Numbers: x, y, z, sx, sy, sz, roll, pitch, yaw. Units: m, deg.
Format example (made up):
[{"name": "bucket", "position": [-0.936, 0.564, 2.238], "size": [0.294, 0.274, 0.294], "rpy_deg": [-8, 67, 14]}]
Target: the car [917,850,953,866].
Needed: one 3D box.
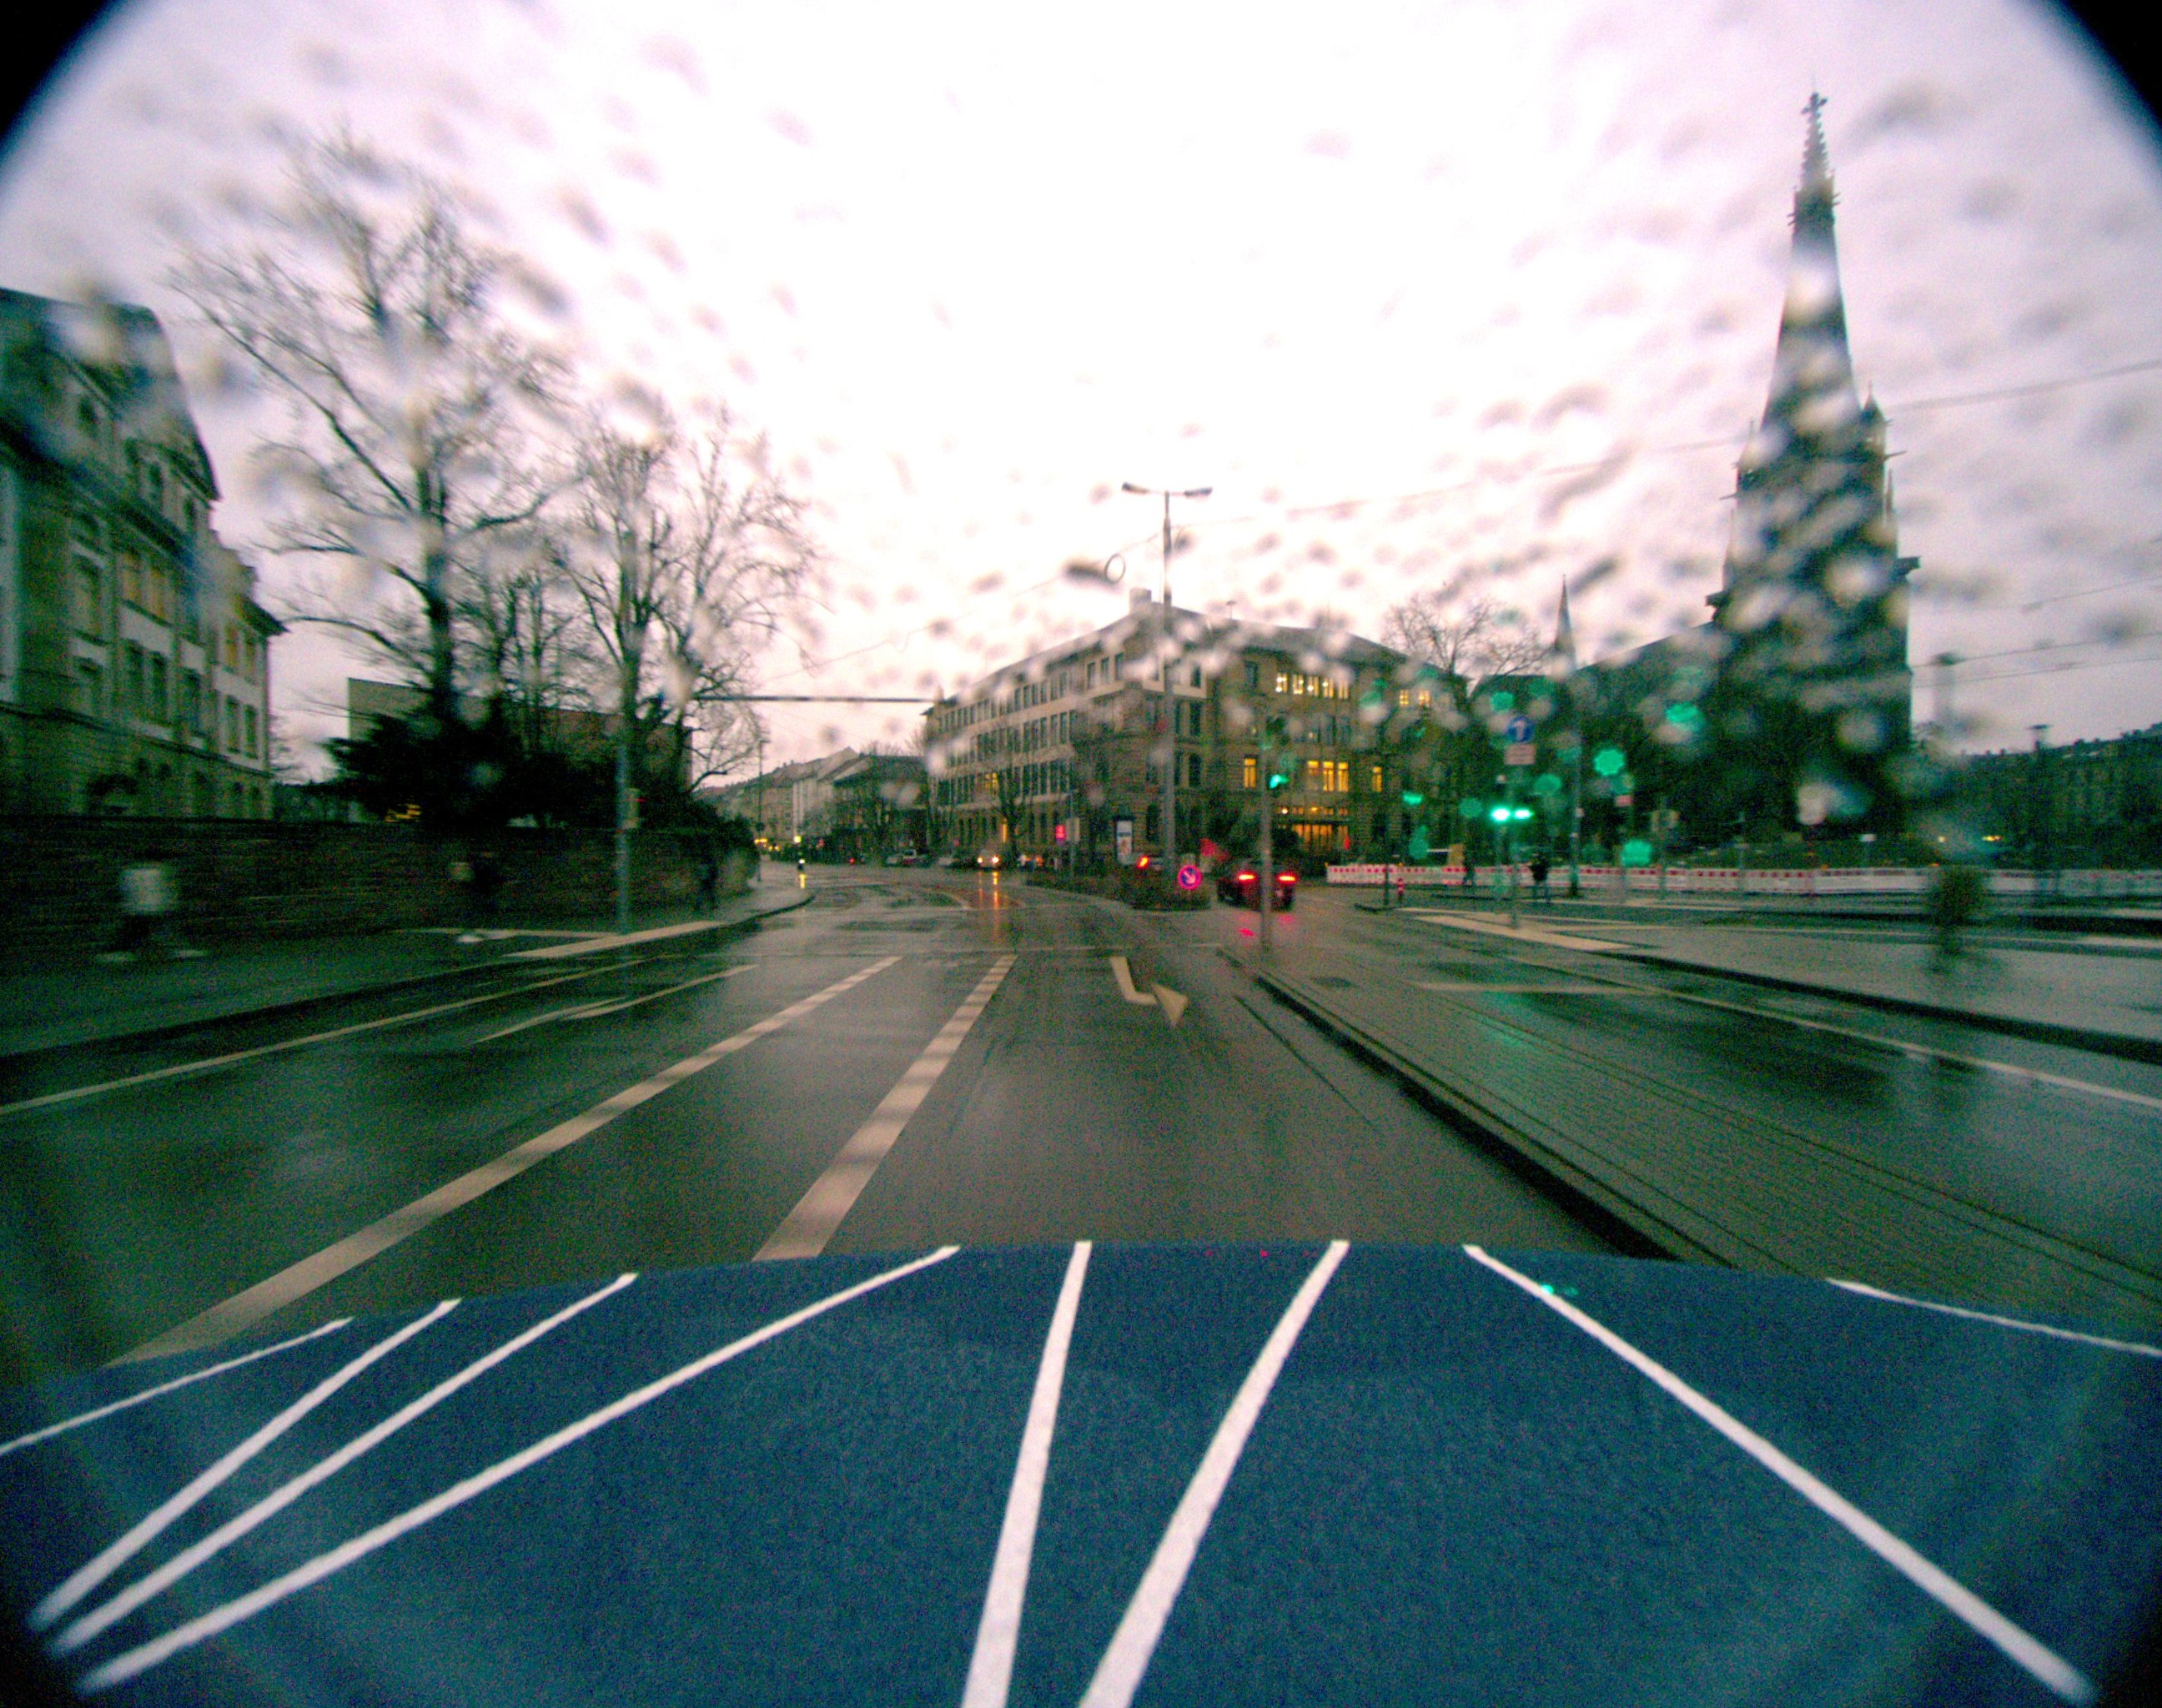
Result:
[{"name": "car", "position": [-16.061, 0.385, 83.785], "size": [1.819, 1.531, 3.982], "rpy_deg": [0, 3, 28]}]

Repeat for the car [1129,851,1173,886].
[{"name": "car", "position": [3.505, 0.700, 38.874], "size": [1.759, 1.652, 4.529], "rpy_deg": [1, 0, 0]}]

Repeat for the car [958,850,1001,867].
[{"name": "car", "position": [-10.088, 0.465, 75.712], "size": [1.795, 1.450, 4.484], "rpy_deg": [0, 3, 29]}]

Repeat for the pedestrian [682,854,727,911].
[{"name": "pedestrian", "position": [-11.287, 0.840, 22.839], "size": [0.807, 1.675, 1.156], "rpy_deg": [1, 0, -4]}]

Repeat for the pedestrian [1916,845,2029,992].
[{"name": "pedestrian", "position": [10.765, 0.741, 9.209], "size": [0.673, 1.665, 0.731], "rpy_deg": [0, 3, 32]}]

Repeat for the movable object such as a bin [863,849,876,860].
[{"name": "movable object such as a bin", "position": [-28.003, 0.081, 100.552], "size": [1.341, 1.456, 0.987], "rpy_deg": [-1, 3, 18]}]

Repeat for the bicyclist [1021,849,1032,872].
[{"name": "bicyclist", "position": [-4.229, 0.520, 59.058], "size": [0.611, 1.758, 0.589], "rpy_deg": [-1, 3, 9]}]

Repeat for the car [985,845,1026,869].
[{"name": "car", "position": [-6.942, 0.239, 70.576], "size": [1.908, 2.022, 4.809], "rpy_deg": [-1, 2, 18]}]

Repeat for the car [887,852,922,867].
[{"name": "car", "position": [-21.144, 0.669, 91.394], "size": [1.771, 1.582, 4.191], "rpy_deg": [-1, 2, 27]}]

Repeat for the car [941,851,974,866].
[{"name": "car", "position": [-12.958, 0.467, 79.844], "size": [1.633, 1.450, 3.831], "rpy_deg": [-1, 2, 22]}]

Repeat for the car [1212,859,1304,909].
[{"name": "car", "position": [5.438, 0.863, 23.905], "size": [1.751, 1.370, 4.365], "rpy_deg": [1, 0, -2]}]

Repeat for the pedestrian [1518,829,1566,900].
[{"name": "pedestrian", "position": [15.791, 0.349, 26.047], "size": [0.996, 2.357, 1.063], "rpy_deg": [-2, 3, -4]}]

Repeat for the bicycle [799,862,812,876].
[{"name": "bicycle", "position": [-22.559, 1.222, 62.236], "size": [0.725, 1.084, 2.280], "rpy_deg": [-2, 0, -27]}]

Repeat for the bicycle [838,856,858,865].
[{"name": "bicycle", "position": [-27.823, 0.749, 90.630], "size": [2.125, 0.939, 0.942], "rpy_deg": [-3, 3, -30]}]

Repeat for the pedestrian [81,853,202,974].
[{"name": "pedestrian", "position": [-13.683, 0.822, 11.108], "size": [0.964, 1.666, 0.777], "rpy_deg": [0, 1, -38]}]

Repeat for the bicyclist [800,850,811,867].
[{"name": "bicyclist", "position": [-22.577, 0.398, 62.351], "size": [0.718, 1.335, 0.718], "rpy_deg": [-3, 3, -27]}]

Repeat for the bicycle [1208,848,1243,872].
[{"name": "bicycle", "position": [10.563, 0.430, 55.547], "size": [2.424, 1.679, 0.714], "rpy_deg": [-1, 3, 16]}]

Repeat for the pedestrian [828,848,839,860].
[{"name": "pedestrian", "position": [-34.941, 0.045, 107.262], "size": [0.945, 1.694, 0.925], "rpy_deg": [0, 3, 33]}]

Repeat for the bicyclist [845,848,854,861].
[{"name": "bicyclist", "position": [-27.588, 0.068, 90.673], "size": [0.858, 1.586, 0.779], "rpy_deg": [-2, 3, -30]}]

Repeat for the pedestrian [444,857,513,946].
[{"name": "pedestrian", "position": [-11.630, 0.905, 14.695], "size": [0.792, 1.666, 0.729], "rpy_deg": [1, 1, -13]}]

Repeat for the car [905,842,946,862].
[{"name": "car", "position": [-17.685, -0.228, 86.402], "size": [1.961, 2.042, 4.629], "rpy_deg": [0, 3, 29]}]
